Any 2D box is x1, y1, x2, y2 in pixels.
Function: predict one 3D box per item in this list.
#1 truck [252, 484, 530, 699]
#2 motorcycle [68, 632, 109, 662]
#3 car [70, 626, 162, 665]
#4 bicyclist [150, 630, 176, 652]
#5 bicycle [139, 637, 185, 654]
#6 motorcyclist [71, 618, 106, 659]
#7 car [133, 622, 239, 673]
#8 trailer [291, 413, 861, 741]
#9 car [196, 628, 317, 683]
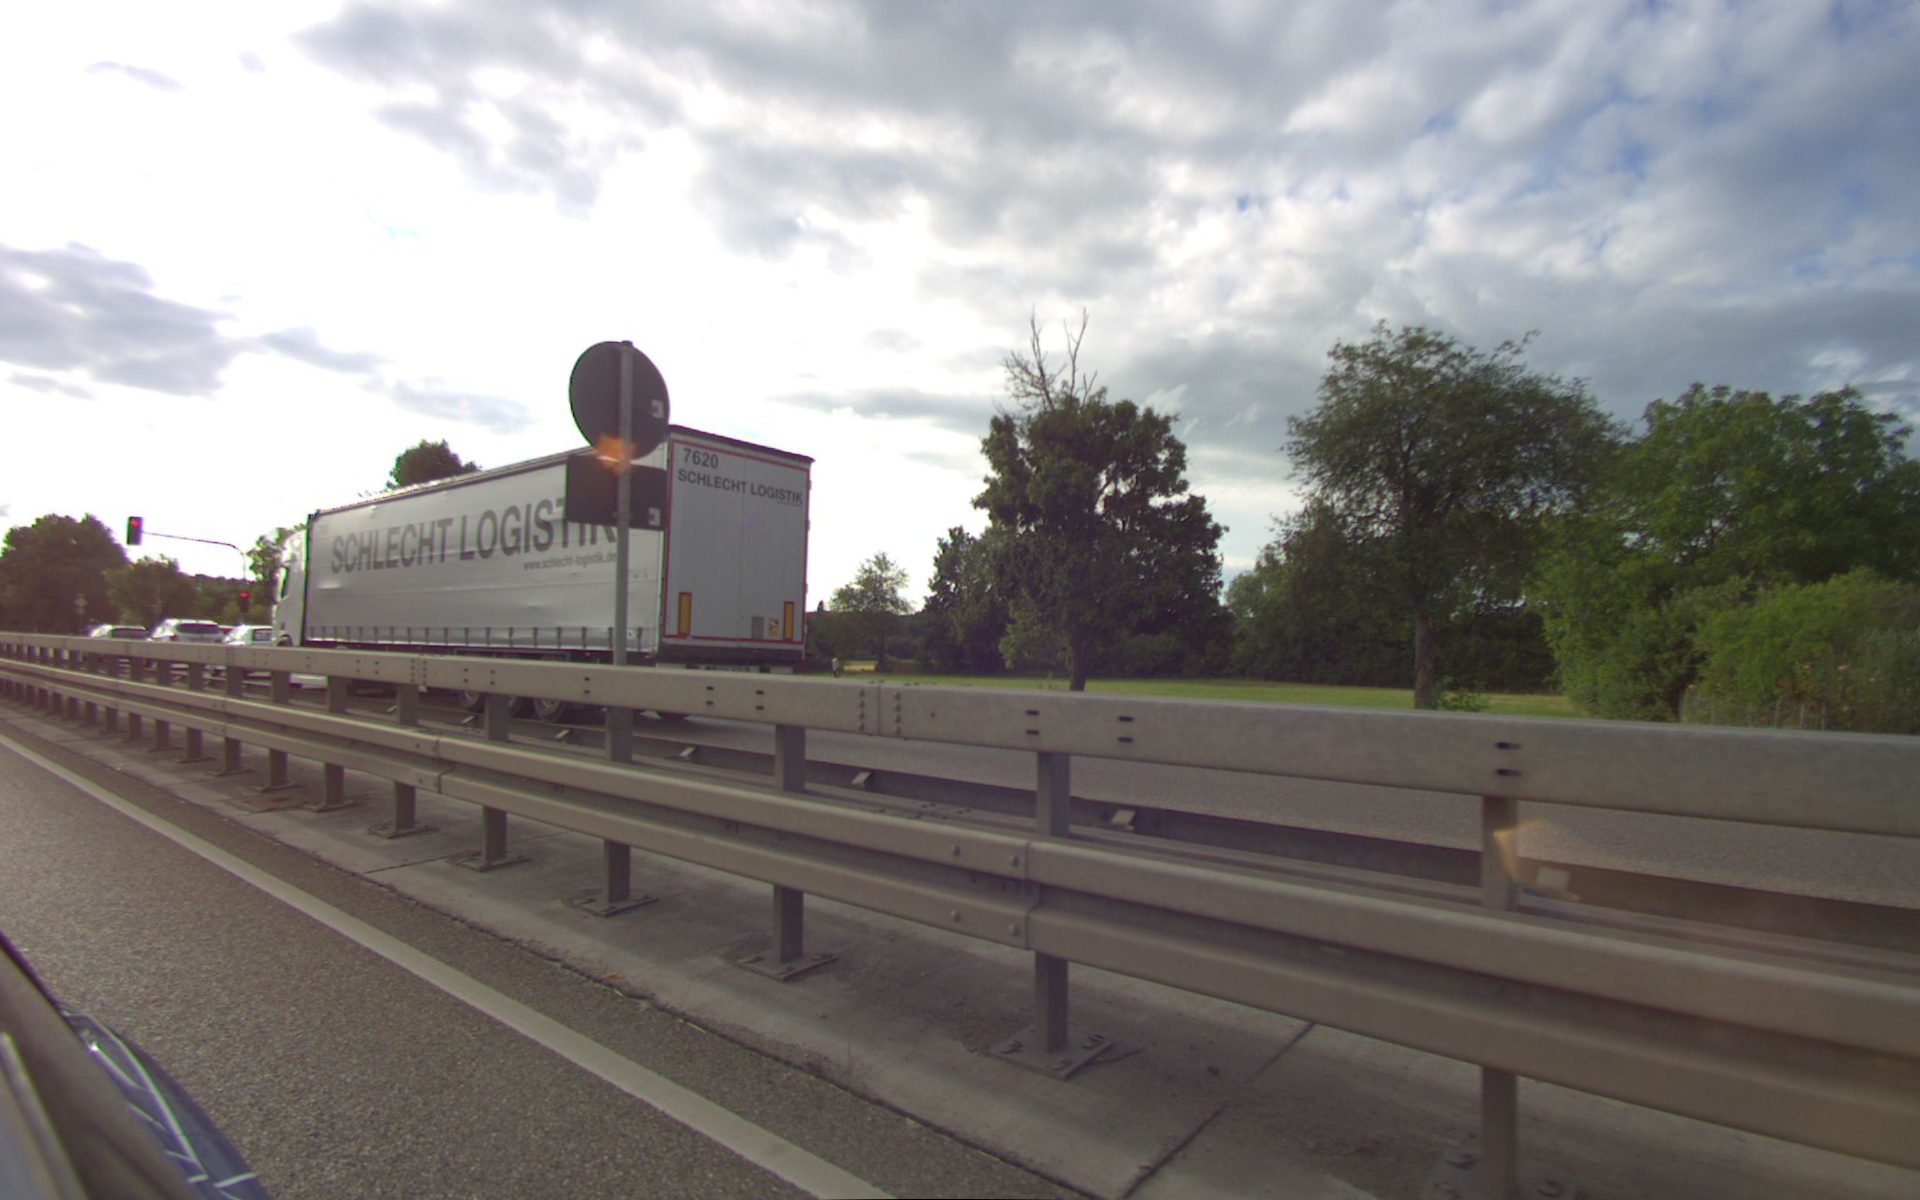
[{"bbox_3d":[-12.972,-0.022,22.927,6.045,4.182,3.439,-1,-4,40],"label":"truck"},{"bbox_3d":[-37.442,2.017,43.474,2.477,1.212,0.907,-1,-3,41],"label":"motorcycle"},{"bbox_3d":[-33.551,1.788,40.179,5.148,1.439,1.888,-1,-3,40],"label":"car"},{"bbox_3d":[-53.860,2.744,68.392,1.208,1.462,0.816,3,-3,-44],"label":"bicyclist"},{"bbox_3d":[-53.880,3.068,68.351,2.293,1.146,0.816,3,-3,-45],"label":"bicycle"},{"bbox_3d":[-37.442,1.633,43.485,1.275,1.722,0.907,-1,-3,41],"label":"motorcyclist"},{"bbox_3d":[-26.189,1.580,34.197,4.401,1.622,1.888,-1,-3,40],"label":"car"},{"bbox_3d":[-7.951,-0.110,18.678,13.906,4.182,3.429,-1,-4,40],"label":"trailer"},{"bbox_3d":[-20.003,1.531,28.724,4.157,1.455,1.771,-1,-3,40],"label":"car"}]
